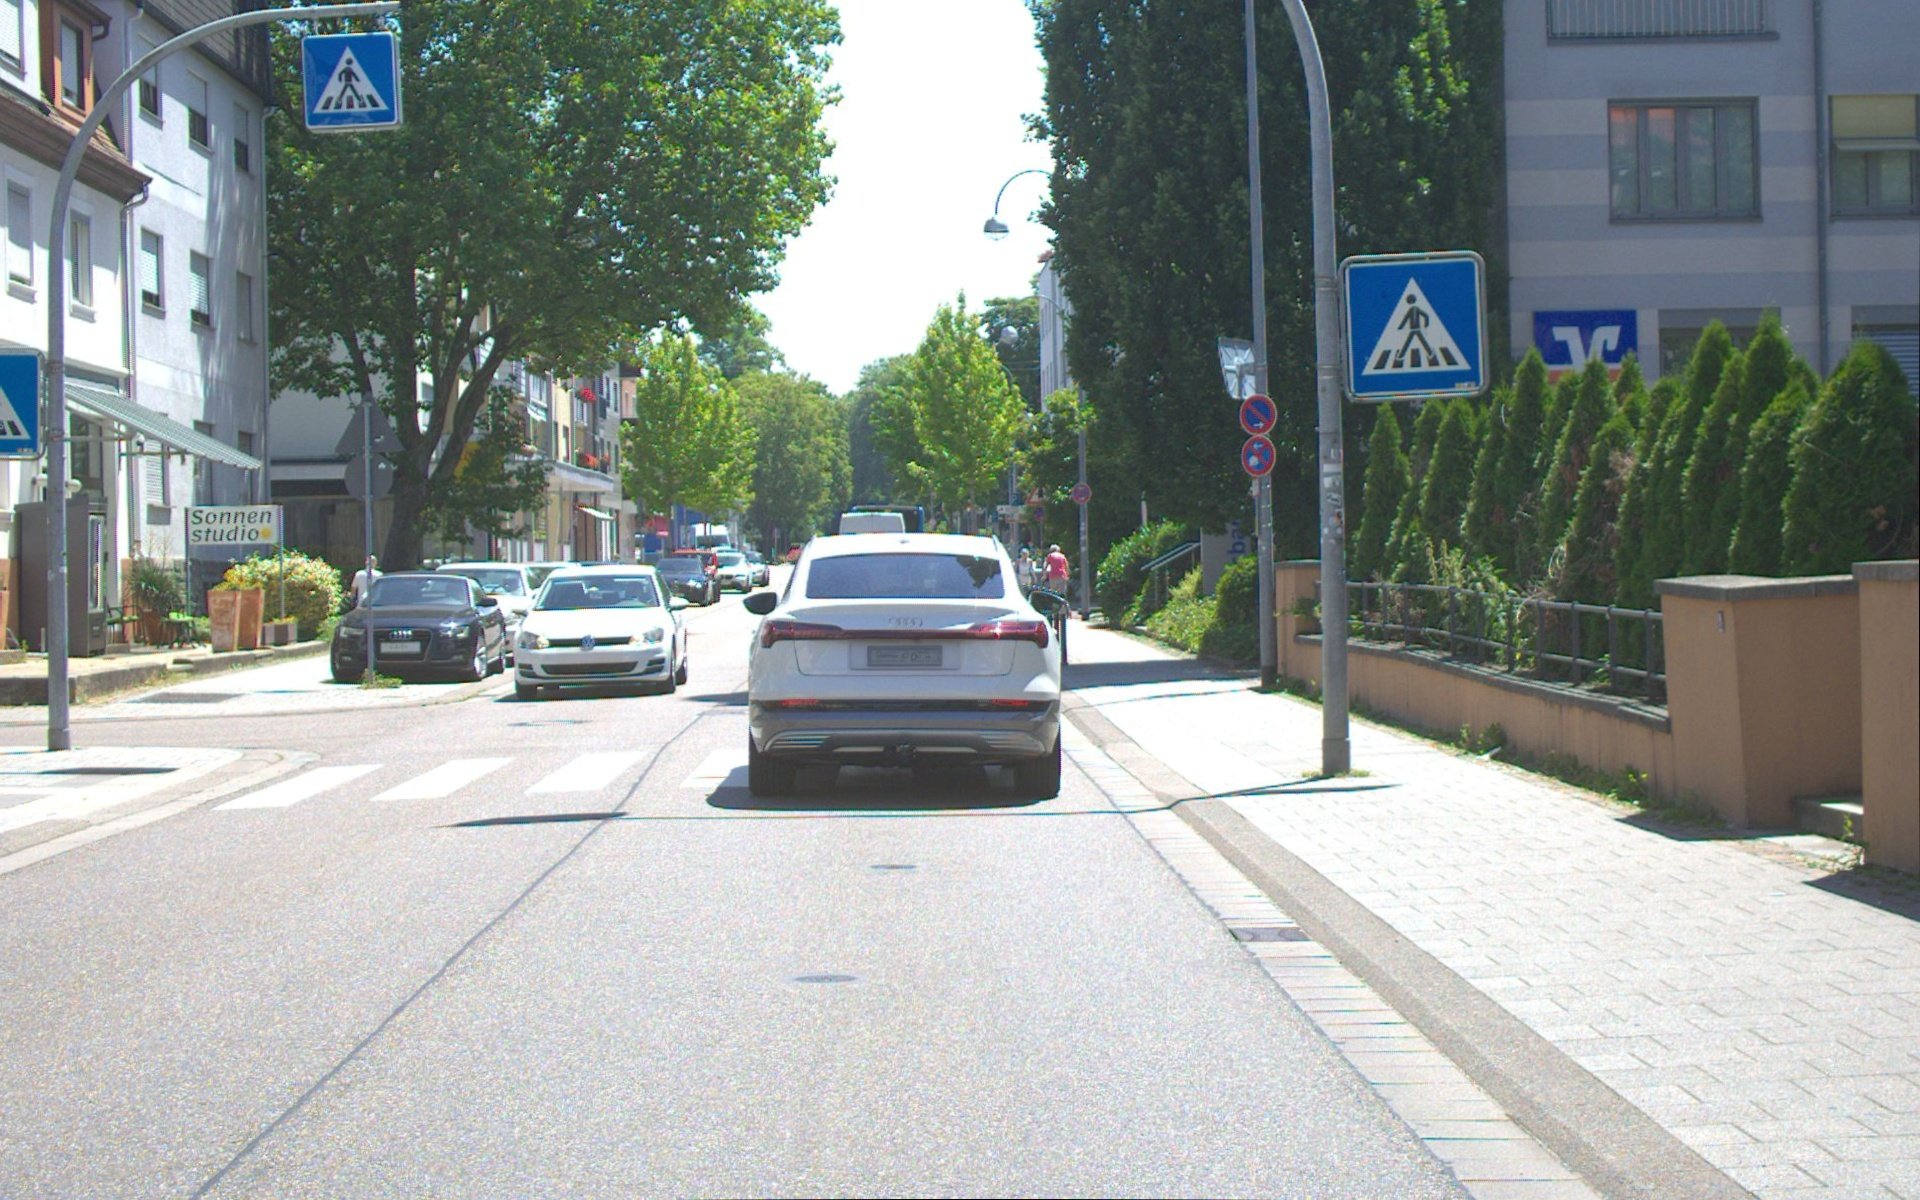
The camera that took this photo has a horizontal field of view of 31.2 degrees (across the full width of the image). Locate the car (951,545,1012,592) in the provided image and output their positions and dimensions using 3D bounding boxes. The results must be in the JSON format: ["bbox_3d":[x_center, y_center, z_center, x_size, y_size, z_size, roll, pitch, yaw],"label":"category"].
[{"bbox_3d":[0.705,-1.042,111.041,1.896,1.433,4.544,-1,1,1],"label":"car"}]

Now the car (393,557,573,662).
[{"bbox_3d":[-7.020,0.104,51.064,1.981,1.447,5.358,0,1,-1],"label":"car"}]

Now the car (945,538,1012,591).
[{"bbox_3d":[0.620,-1.228,117.180,1.896,1.669,4.691,-3,1,-4],"label":"car"}]

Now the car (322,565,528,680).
[{"bbox_3d":[-6.926,0.253,44.996,1.942,1.369,5.098,-1,1,-1],"label":"car"}]

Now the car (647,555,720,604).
[{"bbox_3d":[-8.315,-0.637,103.746,1.896,1.412,5.048,1,1,-2],"label":"car"}]

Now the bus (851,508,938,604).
[{"bbox_3d":[-2.235,-1.532,119.870,2.661,3.210,7.301,1,1,1],"label":"bus"}]

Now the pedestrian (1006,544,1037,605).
[{"bbox_3d":[1.699,-0.701,94.838,0.700,1.621,0.784,-4,0,-2],"label":"pedestrian"}]

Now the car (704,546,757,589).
[{"bbox_3d":[-8.899,-1.262,133.524,1.752,1.612,4.401,1,1,0],"label":"car"}]

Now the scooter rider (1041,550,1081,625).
[{"bbox_3d":[2.122,-0.266,72.111,0.716,1.543,0.770,-2,1,-3],"label":"scooter rider"}]

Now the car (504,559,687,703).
[{"bbox_3d":[-4.116,0.312,39.317,1.807,1.477,3.870,-3,1,-3],"label":"car"}]

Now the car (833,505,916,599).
[{"bbox_3d":[-2.288,-1.289,93.275,2.156,2.433,5.284,1,1,-1],"label":"car"}]

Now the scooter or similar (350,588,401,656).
[{"bbox_3d":[-9.687,0.364,57.012,0.663,1.094,1.028,1,1,0],"label":"scooter or similar"}]

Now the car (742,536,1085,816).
[{"bbox_3d":[-0.353,0.412,22.039,1.993,1.627,4.001,0,1,-2],"label":"car"}]

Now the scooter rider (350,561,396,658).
[{"bbox_3d":[-9.681,0.146,56.713,0.588,1.570,0.877,1,1,0],"label":"scooter rider"}]
